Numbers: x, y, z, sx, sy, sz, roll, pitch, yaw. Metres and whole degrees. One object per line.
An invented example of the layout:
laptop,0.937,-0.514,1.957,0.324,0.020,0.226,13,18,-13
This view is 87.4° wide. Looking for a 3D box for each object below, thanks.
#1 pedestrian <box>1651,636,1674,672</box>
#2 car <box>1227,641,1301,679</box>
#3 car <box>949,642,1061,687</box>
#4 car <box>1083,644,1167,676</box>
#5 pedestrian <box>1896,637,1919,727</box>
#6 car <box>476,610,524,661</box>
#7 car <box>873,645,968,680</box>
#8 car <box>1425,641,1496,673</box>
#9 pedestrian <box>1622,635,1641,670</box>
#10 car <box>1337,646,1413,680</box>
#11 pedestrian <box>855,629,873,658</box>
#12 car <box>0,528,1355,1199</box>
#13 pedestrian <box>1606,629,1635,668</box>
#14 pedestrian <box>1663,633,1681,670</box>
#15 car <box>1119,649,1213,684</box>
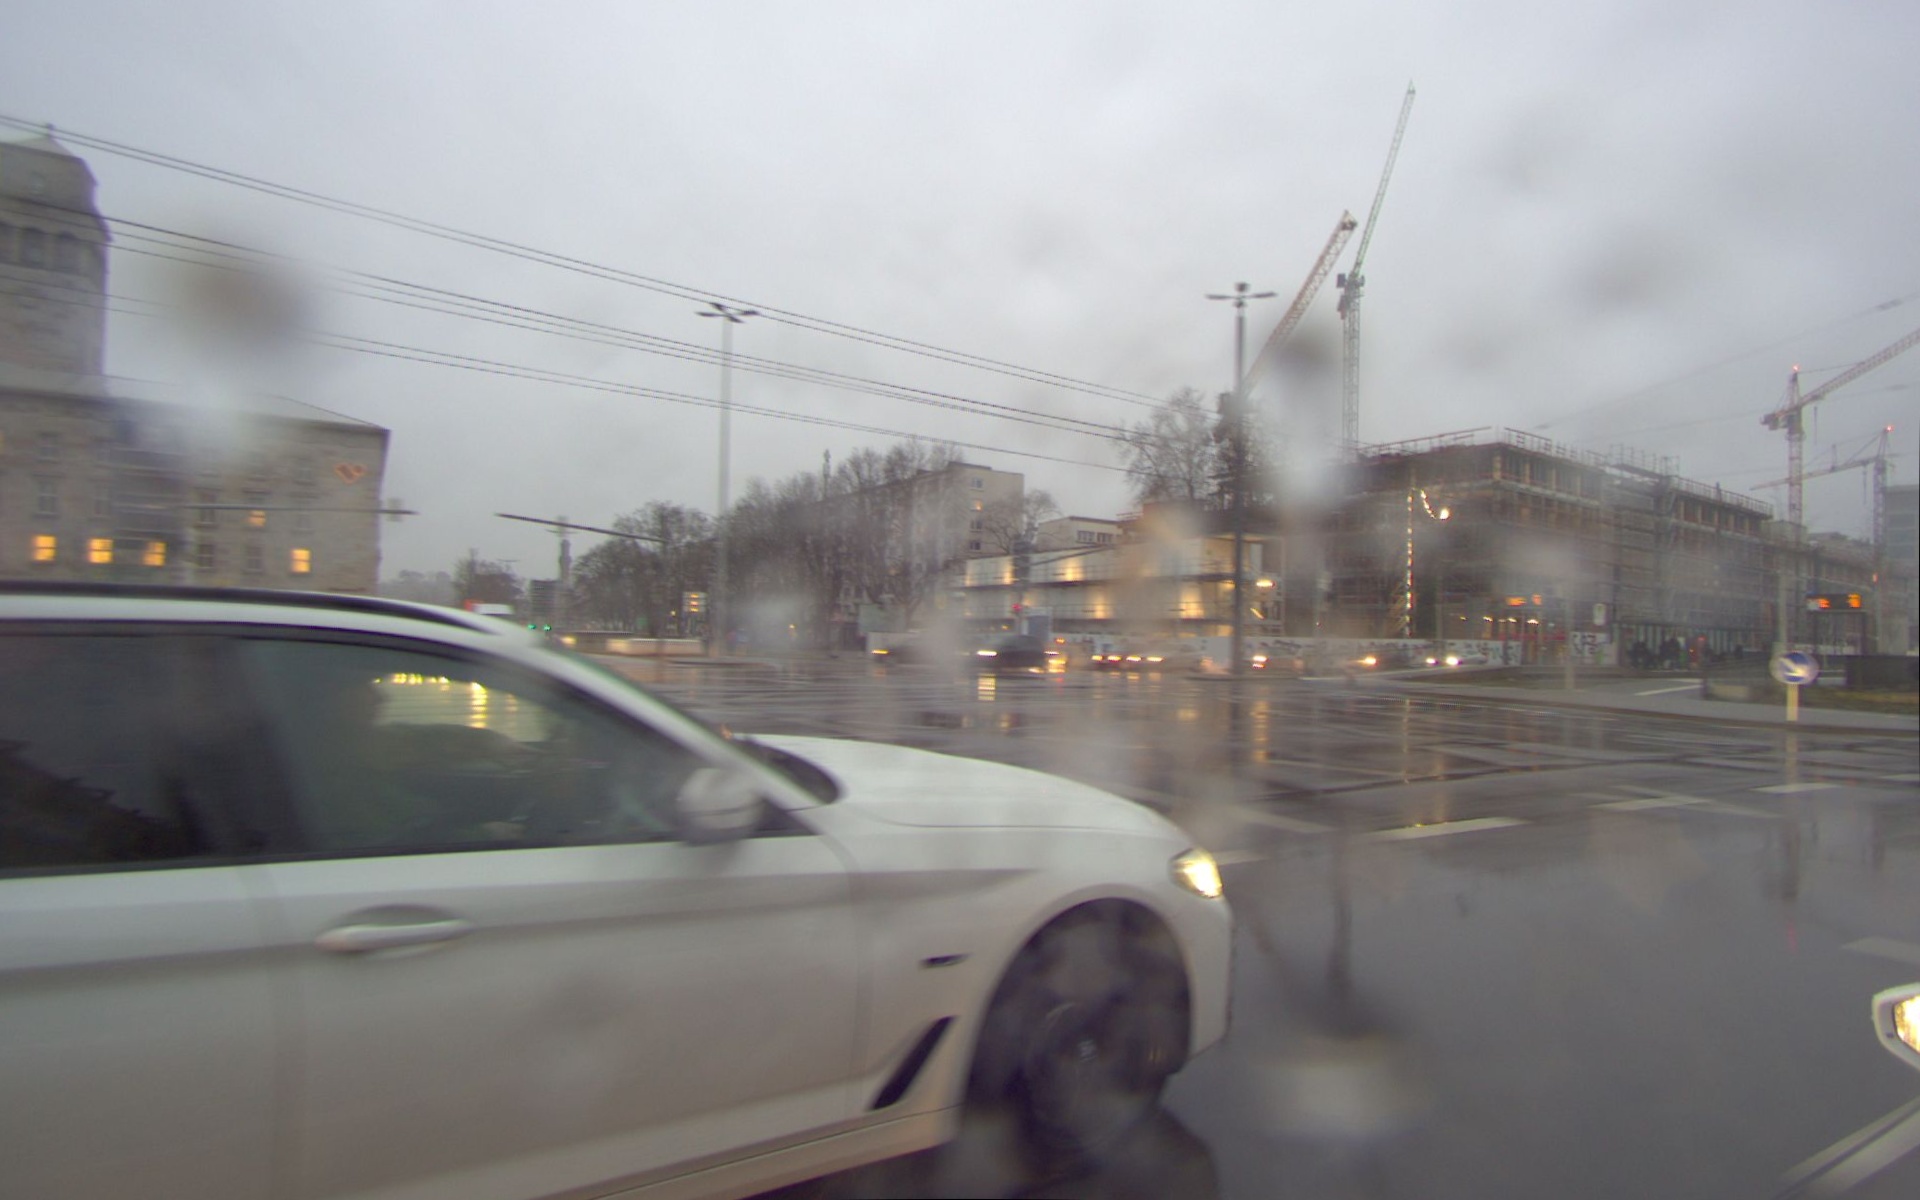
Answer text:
pedestrian,39.154,3.019,56.015,0.754,1.922,0.761,4,-1,-33
car,16.290,3.203,53.757,3.967,1.852,1.850,3,-1,-40
car,1.786,2.542,39.561,3.957,1.678,1.982,3,-2,-33
car,8.668,3.140,52.535,4.300,1.550,1.978,3,-3,-39
pedestrian,22.263,1.882,23.107,0.713,2.040,0.786,2,0,10
car,-23.539,1.784,51.270,2.033,2.454,4.730,2,-2,-26
car,-1.844,2.927,46.978,3.957,1.550,1.982,3,-3,-33
car,31.747,3.631,63.700,3.948,1.814,1.987,3,-1,-26
pedestrian,36.952,2.892,55.277,0.547,1.905,0.694,3,-1,-33
car,24.404,3.715,59.114,3.948,1.814,1.987,3,-1,-26
pedestrian,-6.656,3.039,69.906,0.810,1.959,0.915,3,-1,-39
car,-1.164,0.704,2.786,4.513,1.506,2.005,3,-2,-34
pedestrian,36.008,2.641,54.746,1.084,2.040,0.935,3,-1,-36
pedestrian,40.187,2.901,56.664,0.659,1.994,0.565,3,1,-38
car,9.788,3.132,47.513,4.582,1.550,2.057,3,-3,-42
